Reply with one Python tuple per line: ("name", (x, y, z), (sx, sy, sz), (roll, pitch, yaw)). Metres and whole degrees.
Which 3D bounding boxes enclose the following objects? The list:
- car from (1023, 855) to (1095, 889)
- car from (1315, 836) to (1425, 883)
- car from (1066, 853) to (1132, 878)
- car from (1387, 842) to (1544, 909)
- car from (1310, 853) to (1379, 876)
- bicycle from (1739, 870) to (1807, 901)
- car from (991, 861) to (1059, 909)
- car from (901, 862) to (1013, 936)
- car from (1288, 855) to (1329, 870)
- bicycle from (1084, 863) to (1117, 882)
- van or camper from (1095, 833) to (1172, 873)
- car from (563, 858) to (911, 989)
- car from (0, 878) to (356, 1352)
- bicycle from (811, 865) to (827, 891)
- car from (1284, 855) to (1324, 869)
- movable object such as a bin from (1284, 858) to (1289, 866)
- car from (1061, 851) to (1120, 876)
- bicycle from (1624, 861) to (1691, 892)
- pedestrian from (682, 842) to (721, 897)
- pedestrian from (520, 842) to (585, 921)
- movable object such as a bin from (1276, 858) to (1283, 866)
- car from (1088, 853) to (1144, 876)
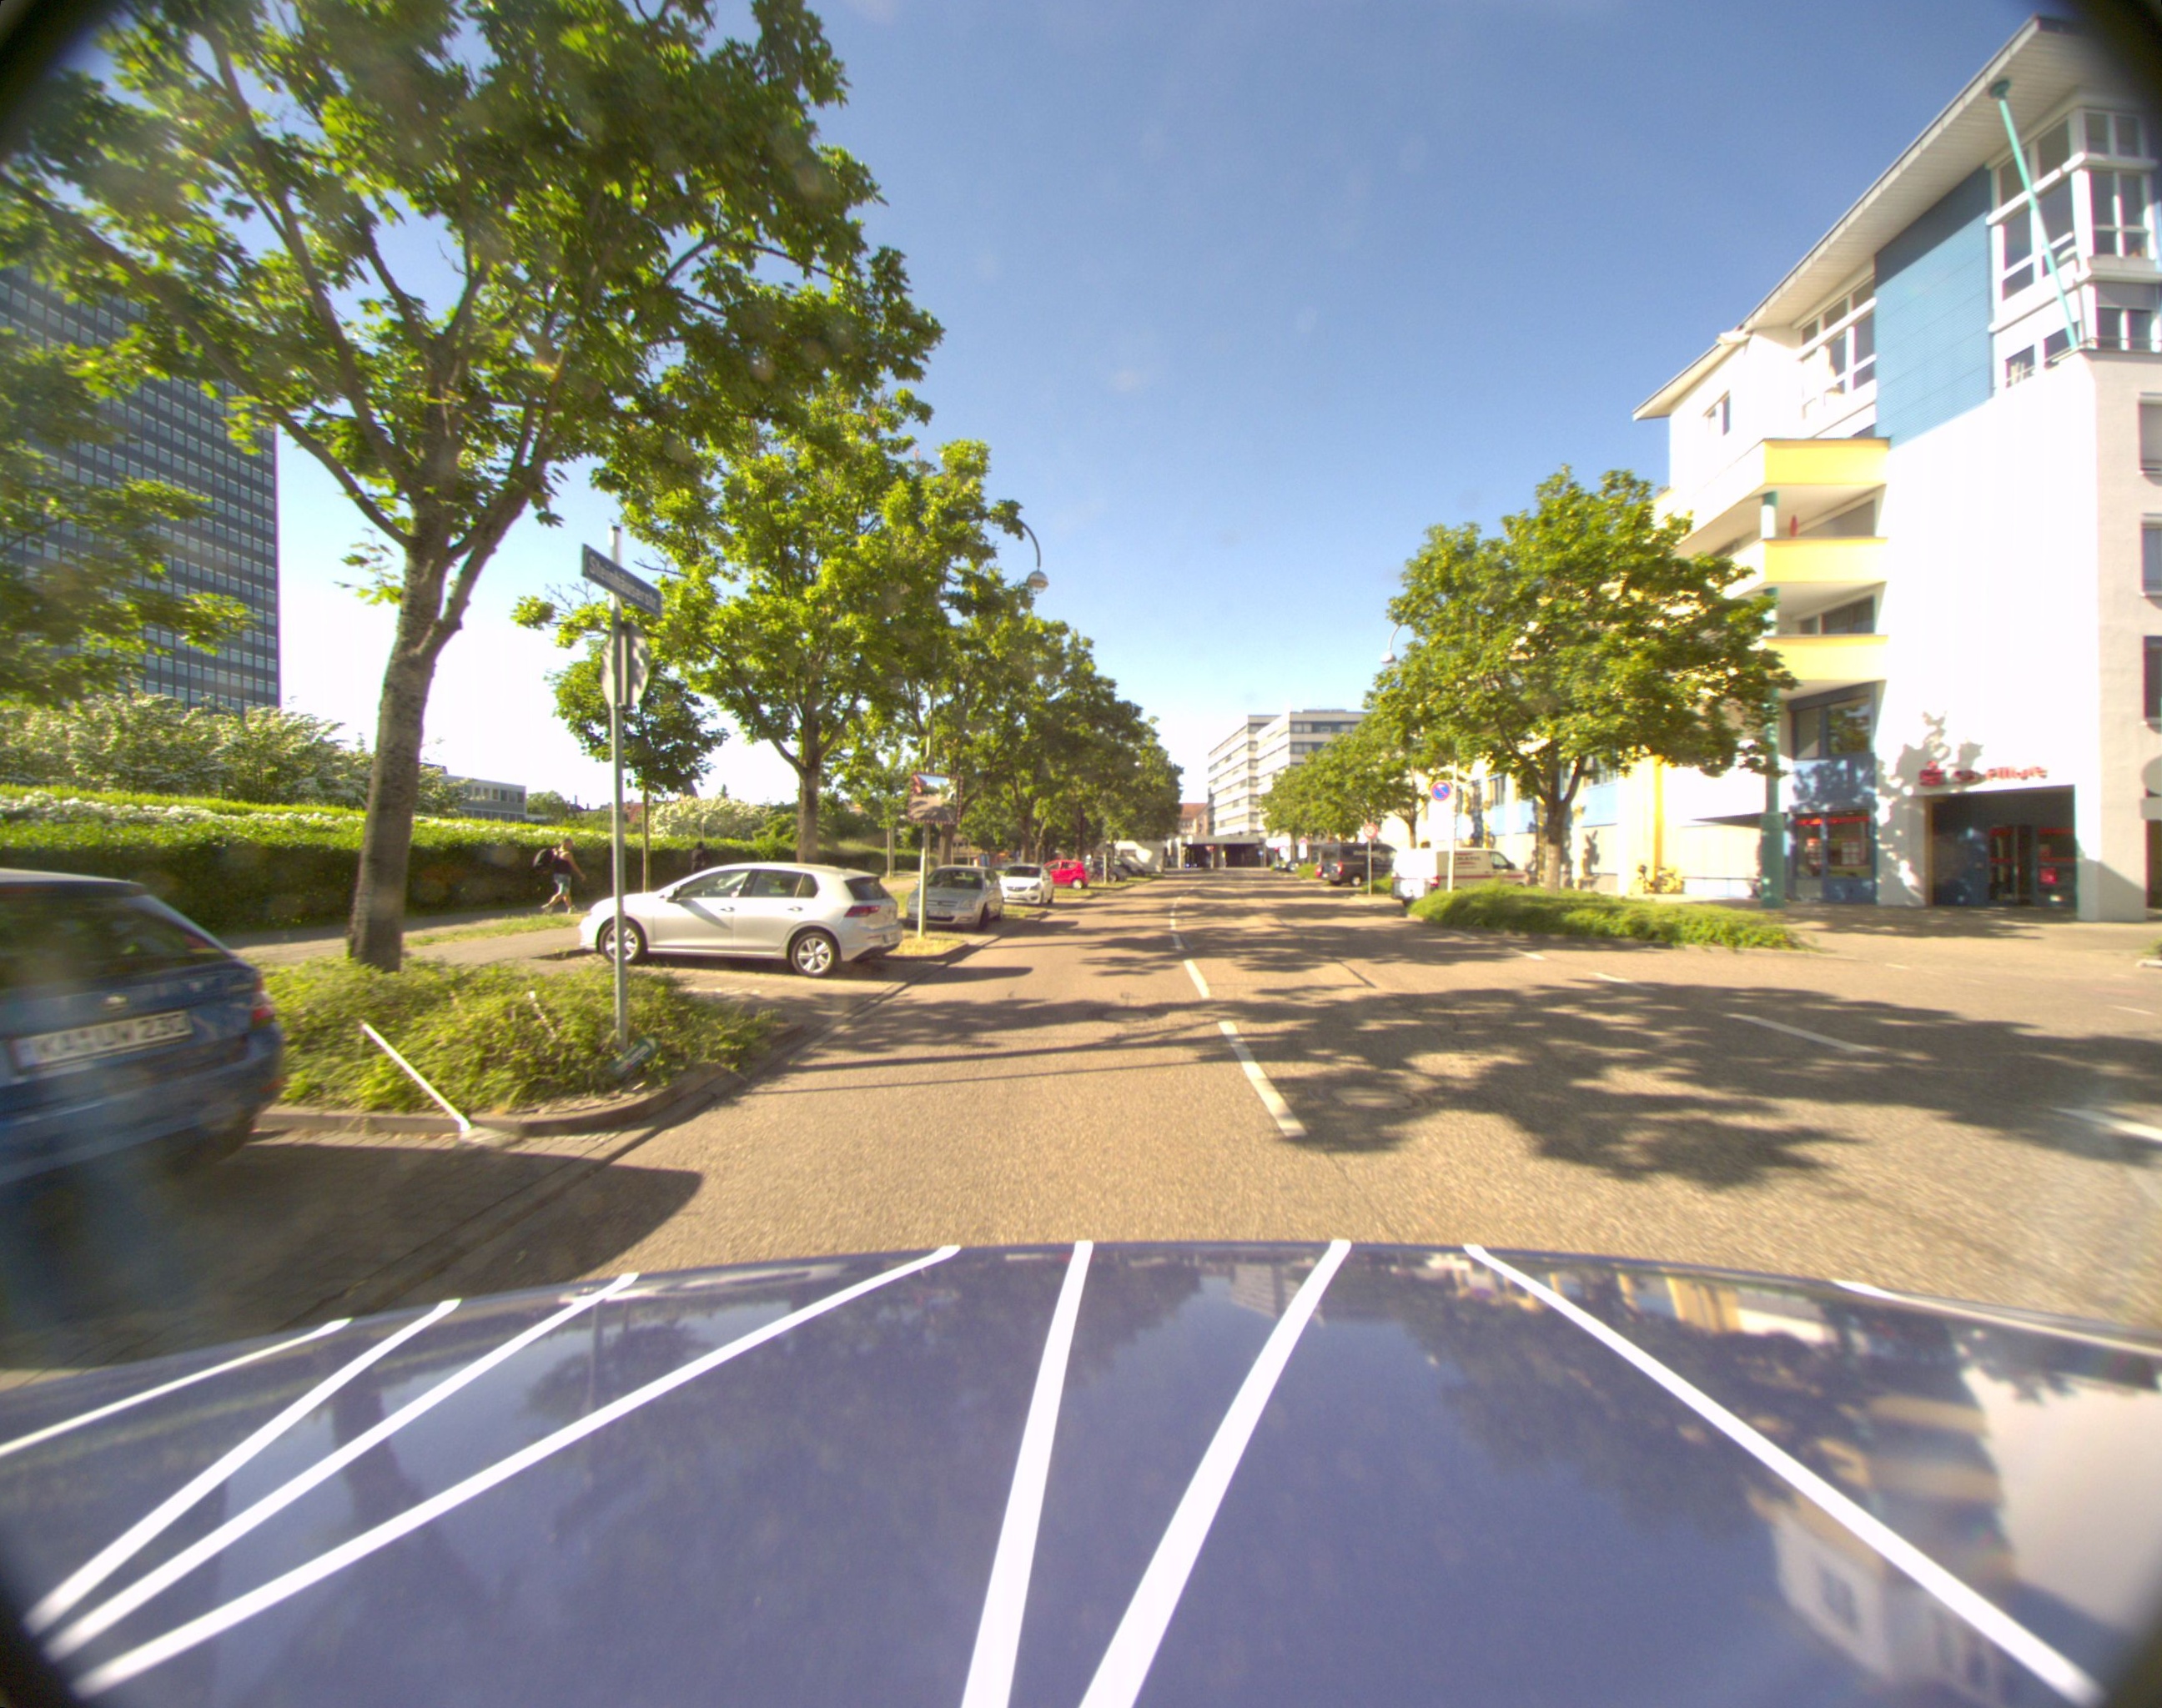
("car", (-1.164, 0.923, 40.157), (3.439, 1.535, 1.629), (3, 1, 12))
("car", (16.167, 0.305, 42.603), (5.508, 2.422, 2.183), (-2, 0, -15))
("car", (1.261, 0.783, 52.272), (4.199, 1.537, 1.861), (3, 1, 12))
("car", (12.581, 0.659, 24.865), (4.777, 1.973, 1.996), (-1, -1, -24))
("car", (18.467, 0.741, 53.252), (4.235, 1.467, 1.768), (-1, 0, -11))
("bicycle", (21.047, 0.959, 23.116), (1.804, 0.867, 0.491), (-2, 1, -8))
("car", (-1.909, 1.041, 26.967), (1.646, 1.485, 3.767), (2, 0, 7))
("car", (-2.915, 1.009, 18.869), (1.813, 1.485, 4.624), (2, 0, 2))
("car", (24.644, 0.897, 82.378), (4.004, 1.455, 1.808), (-2, 1, -22))
("bicycle", (1.077, 1.027, 42.800), (1.752, 0.985, 0.531), (2, 1, 23))
("van or camper", (4.385, -0.096, 62.662), (5.991, 2.967, 2.673), (2, 1, 10))
("car", (-4.667, 0.886, 10.617), (4.097, 1.421, 1.643), (3, 1, 6))
("car", (-5.473, 0.832, 2.845), (3.814, 1.440, 1.744), (3, 1, 1))
("bicycle", (-9.027, 0.820, 26.205), (0.347, 0.861, 1.407), (1, 0, -13))
("car", (25.008, 0.877, 85.321), (4.004, 1.455, 1.808), (-2, 1, -22))
("movable object such as a bin", (26.122, 0.988, 96.701), (0.476, 0.954, 0.543), (-2, 1, 37))
("car", (0.642, 0.617, 49.623), (3.467, 1.470, 1.860), (3, 1, 10))
("bicycle", (21.067, 0.824, 27.780), (1.801, 1.091, 0.702), (1, 0, 12))
("pedestrian", (-11.155, 0.455, 22.369), (0.725, 1.578, 0.853), (0, 0, 1))
("pedestrian", (-10.647, 0.534, 15.326), (0.608, 1.533, 0.937), (0, 0, 4))
("movable object such as a bin", (25.418, 1.012, 97.277), (0.674, 1.067, 0.804), (0, 1, 36))
("car", (2.798, 0.813, 59.930), (4.156, 1.537, 1.860), (3, 1, 9))
